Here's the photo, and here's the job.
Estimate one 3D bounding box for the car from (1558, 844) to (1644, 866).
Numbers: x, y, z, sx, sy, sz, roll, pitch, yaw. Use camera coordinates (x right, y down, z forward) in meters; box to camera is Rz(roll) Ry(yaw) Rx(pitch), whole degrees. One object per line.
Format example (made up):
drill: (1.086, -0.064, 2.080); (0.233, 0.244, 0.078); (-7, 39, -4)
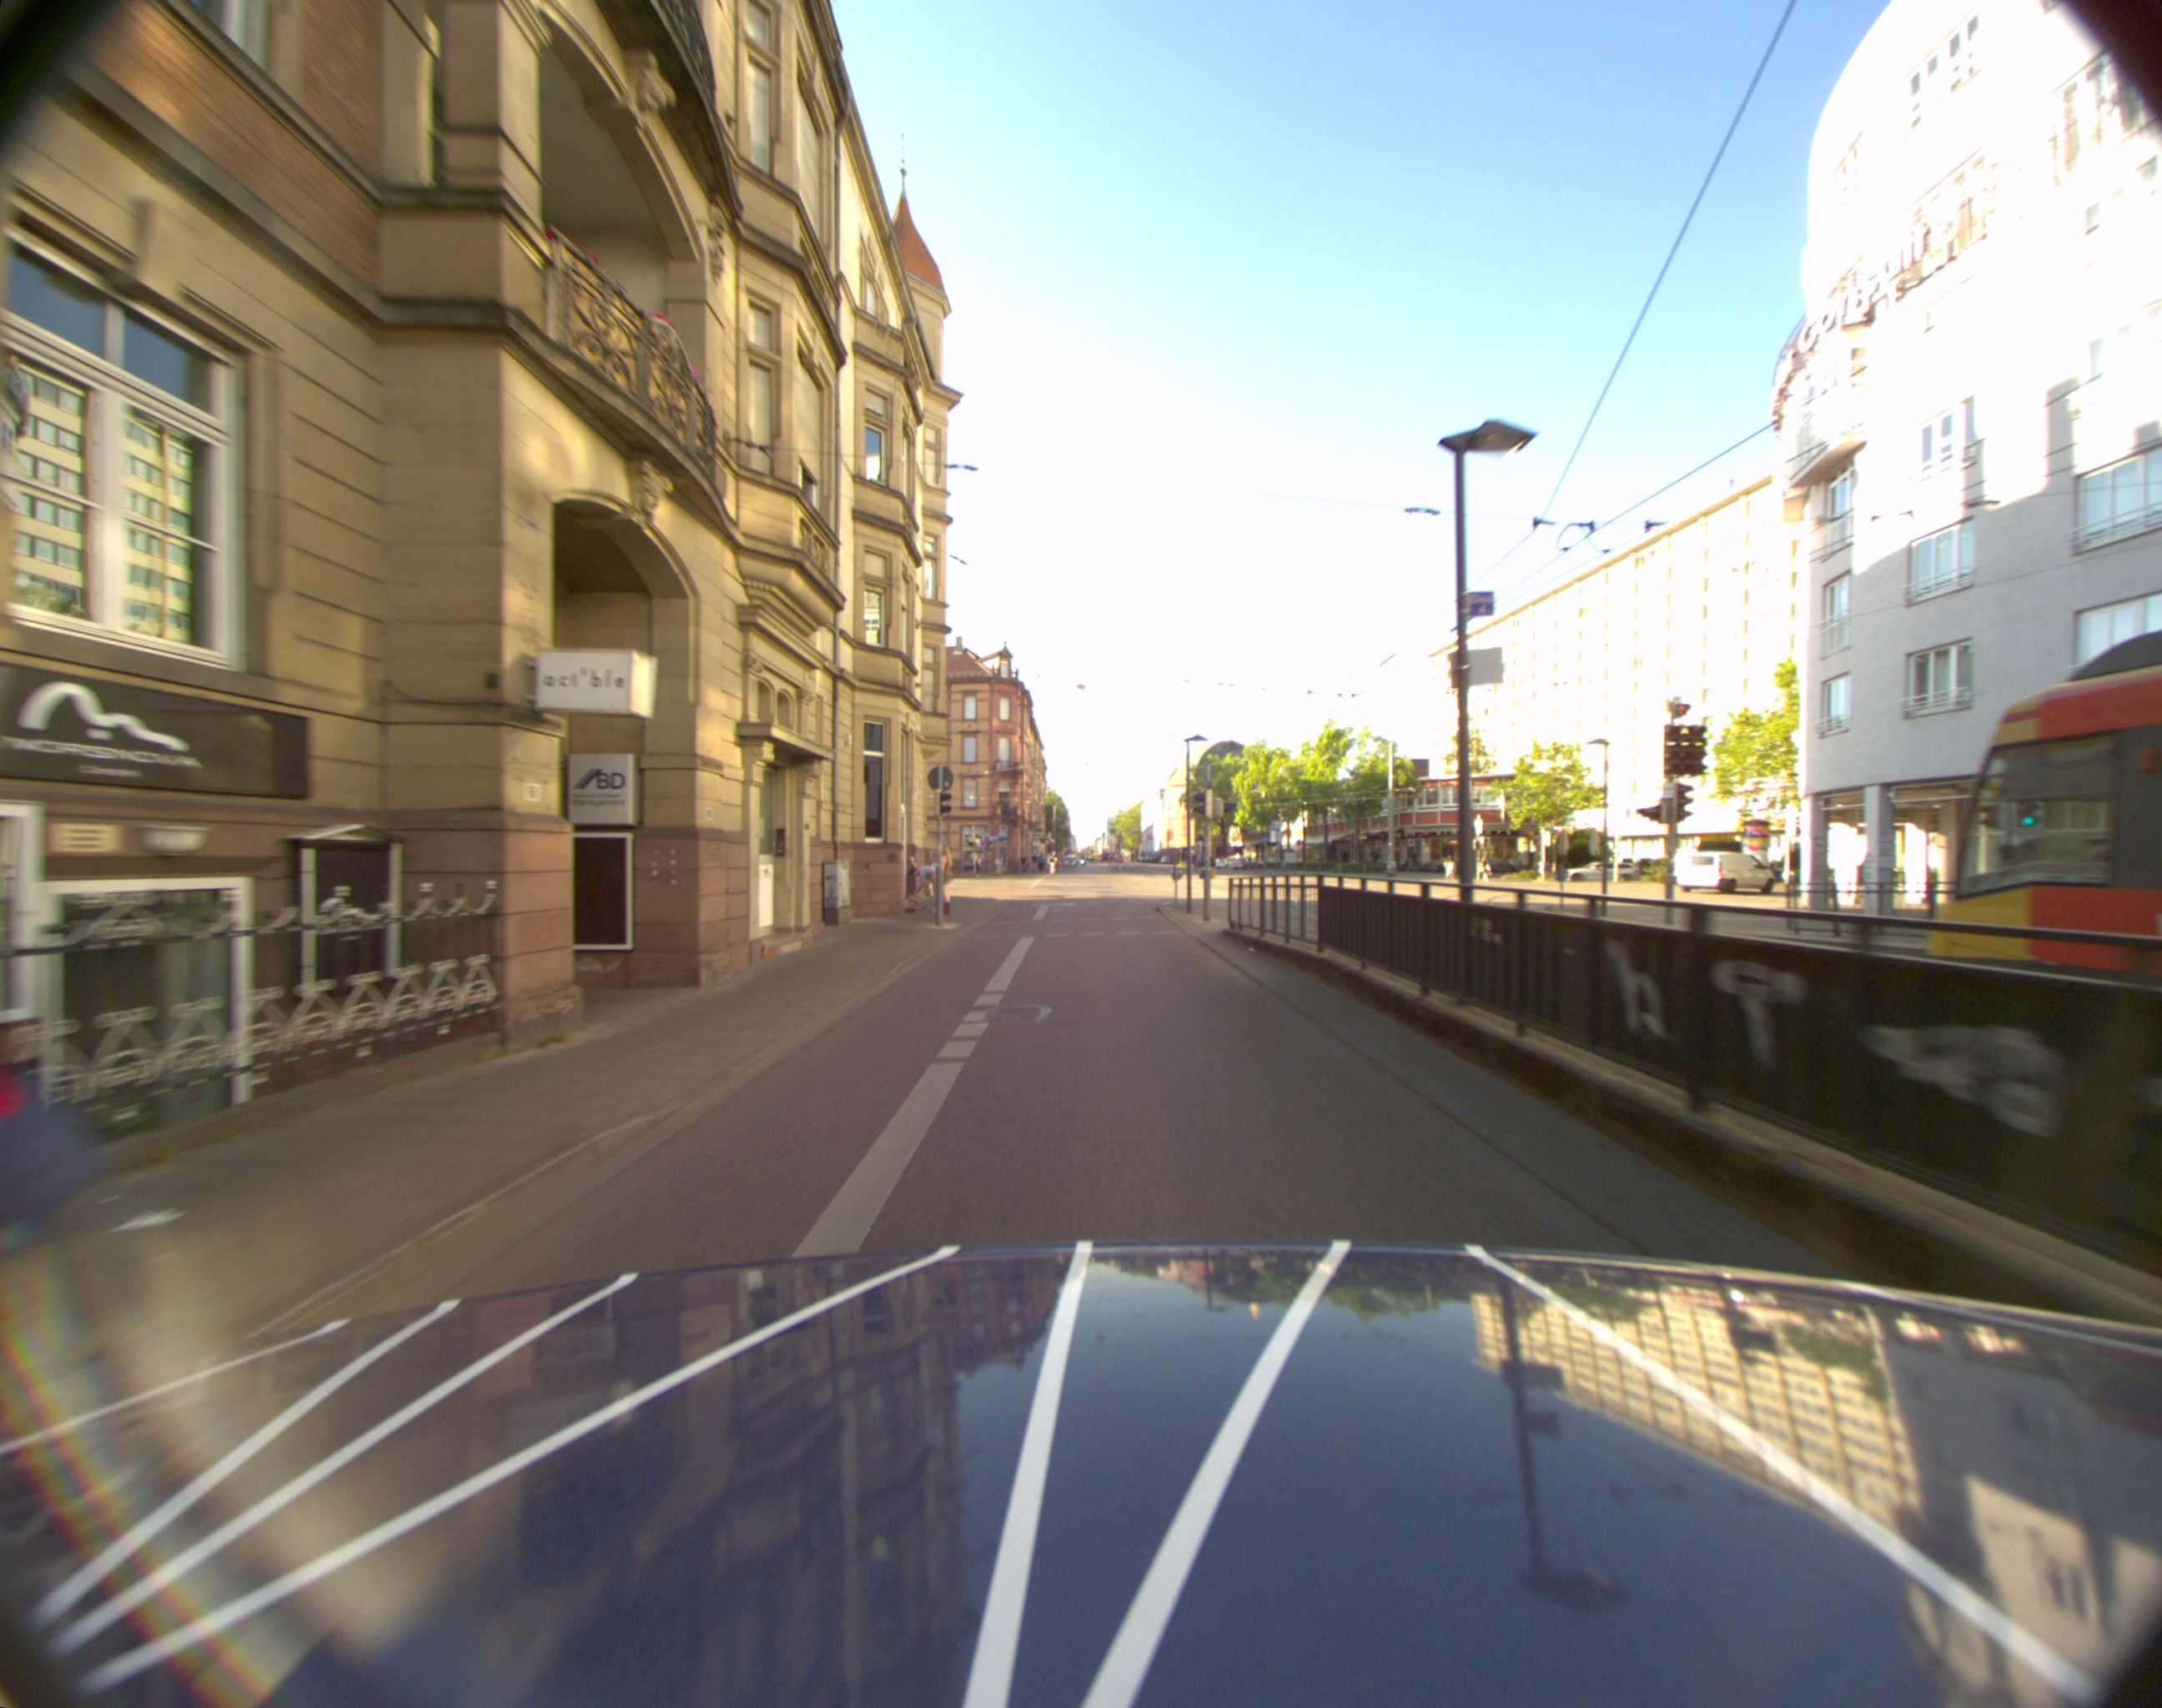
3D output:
car: (35.251, 0.048, 51.620); (4.446, 1.413, 1.893); (1, 1, 17)

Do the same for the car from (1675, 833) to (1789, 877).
car: (29.978, -0.019, 34.978); (5.353, 1.827, 1.995); (-2, 2, -26)

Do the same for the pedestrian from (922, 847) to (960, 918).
pedestrian: (-3.515, 0.702, 19.088); (0.796, 1.711, 0.719); (2, 2, -1)

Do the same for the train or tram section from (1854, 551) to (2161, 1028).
train or tram section: (9.290, -0.434, 0.660); (2.892, 3.470, 14.165); (-1, 1, 0)

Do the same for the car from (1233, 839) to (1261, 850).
car: (32.124, -1.817, 147.018); (4.984, 2.002, 2.000); (0, 0, -2)

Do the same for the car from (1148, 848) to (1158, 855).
car: (17.956, -0.569, 189.316); (1.965, 1.594, 3.999); (-1, 0, -2)

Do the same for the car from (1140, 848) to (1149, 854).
car: (17.941, -0.849, 214.772); (1.965, 1.594, 3.999); (-1, 0, -2)

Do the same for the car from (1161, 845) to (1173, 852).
car: (18.395, -1.185, 162.025); (1.910, 1.594, 3.999); (-1, 0, -2)

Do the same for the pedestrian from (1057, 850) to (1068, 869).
pedestrian: (-1.713, 0.502, 69.715); (0.849, 1.651, 0.850); (1, 0, 4)

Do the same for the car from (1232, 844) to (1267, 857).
car: (20.944, -0.455, 94.438); (4.006, 1.545, 1.793); (-1, 1, -31)

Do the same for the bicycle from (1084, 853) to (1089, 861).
bicycle: (0.829, 0.470, 116.295); (0.646, 1.176, 1.804); (0, 0, -2)

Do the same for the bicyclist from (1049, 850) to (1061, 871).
bicyclist: (-1.991, 0.488, 58.597); (0.886, 1.650, 0.803); (0, 1, 3)

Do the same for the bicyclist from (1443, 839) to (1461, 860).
bicyclist: (25.842, -0.333, 52.908); (0.842, 1.459, 0.897); (1, 1, 11)

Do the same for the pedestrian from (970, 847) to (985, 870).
pedestrian: (-7.913, 0.350, 58.326); (1.026, 1.796, 1.083); (0, 0, -3)

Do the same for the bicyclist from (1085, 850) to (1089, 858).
bicyclist: (0.892, -0.015, 116.326); (0.646, 1.176, 0.723); (0, 0, -2)

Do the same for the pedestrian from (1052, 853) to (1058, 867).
pedestrian: (-3.283, 0.757, 96.530); (0.700, 1.713, 0.502); (2, 1, 2)

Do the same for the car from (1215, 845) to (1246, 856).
car: (20.683, -0.463, 105.116); (4.006, 1.466, 1.793); (-1, 1, -31)

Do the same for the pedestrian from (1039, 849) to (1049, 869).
pedestrian: (-3.454, 0.464, 71.098); (0.824, 1.883, 0.754); (2, 1, 1)

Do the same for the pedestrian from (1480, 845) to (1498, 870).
pedestrian: (27.748, 0.246, 51.680); (0.870, 1.671, 0.697); (1, -1, 9)

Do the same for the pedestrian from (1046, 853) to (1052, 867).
pedestrian: (-4.111, 0.776, 96.970); (0.700, 1.713, 0.681); (2, 1, 2)

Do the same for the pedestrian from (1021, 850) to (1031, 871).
pedestrian: (-4.745, 0.556, 65.306); (0.777, 1.713, 0.754); (2, 1, 1)

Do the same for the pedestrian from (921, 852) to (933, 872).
pedestrian: (-13.030, 0.667, 64.158); (0.743, 1.563, 0.763); (-1, 5, 7)

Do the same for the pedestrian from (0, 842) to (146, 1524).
pedestrian: (-2.956, 0.780, 1.650); (0.764, 1.636, 0.832); (2, 0, 0)

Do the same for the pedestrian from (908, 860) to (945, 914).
pedestrian: (-4.017, 0.845, 19.790); (0.796, 1.324, 0.719); (2, 2, -1)

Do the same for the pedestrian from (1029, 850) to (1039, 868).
pedestrian: (-4.395, 0.481, 71.264); (0.777, 1.713, 0.754); (2, 1, 1)

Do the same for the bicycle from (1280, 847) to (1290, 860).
bicycle: (18.892, -0.031, 70.248); (0.582, 1.227, 1.857); (-1, 0, 6)

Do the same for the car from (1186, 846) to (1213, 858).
car: (19.371, -0.375, 124.198); (4.007, 1.952, 1.906); (-1, 1, -34)

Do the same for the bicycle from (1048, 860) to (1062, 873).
bicycle: (-1.985, 0.954, 58.593); (0.885, 0.949, 1.766); (0, 0, 3)

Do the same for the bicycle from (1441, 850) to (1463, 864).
bicycle: (25.829, 0.177, 52.937); (0.842, 0.922, 2.266); (1, 1, 11)

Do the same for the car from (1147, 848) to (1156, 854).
car: (18.141, -0.727, 195.560); (1.965, 1.594, 3.999); (-1, 0, -2)

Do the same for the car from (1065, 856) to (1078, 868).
car: (-1.339, 1.149, 110.157); (1.670, 1.674, 4.001); (0, 0, 3)
